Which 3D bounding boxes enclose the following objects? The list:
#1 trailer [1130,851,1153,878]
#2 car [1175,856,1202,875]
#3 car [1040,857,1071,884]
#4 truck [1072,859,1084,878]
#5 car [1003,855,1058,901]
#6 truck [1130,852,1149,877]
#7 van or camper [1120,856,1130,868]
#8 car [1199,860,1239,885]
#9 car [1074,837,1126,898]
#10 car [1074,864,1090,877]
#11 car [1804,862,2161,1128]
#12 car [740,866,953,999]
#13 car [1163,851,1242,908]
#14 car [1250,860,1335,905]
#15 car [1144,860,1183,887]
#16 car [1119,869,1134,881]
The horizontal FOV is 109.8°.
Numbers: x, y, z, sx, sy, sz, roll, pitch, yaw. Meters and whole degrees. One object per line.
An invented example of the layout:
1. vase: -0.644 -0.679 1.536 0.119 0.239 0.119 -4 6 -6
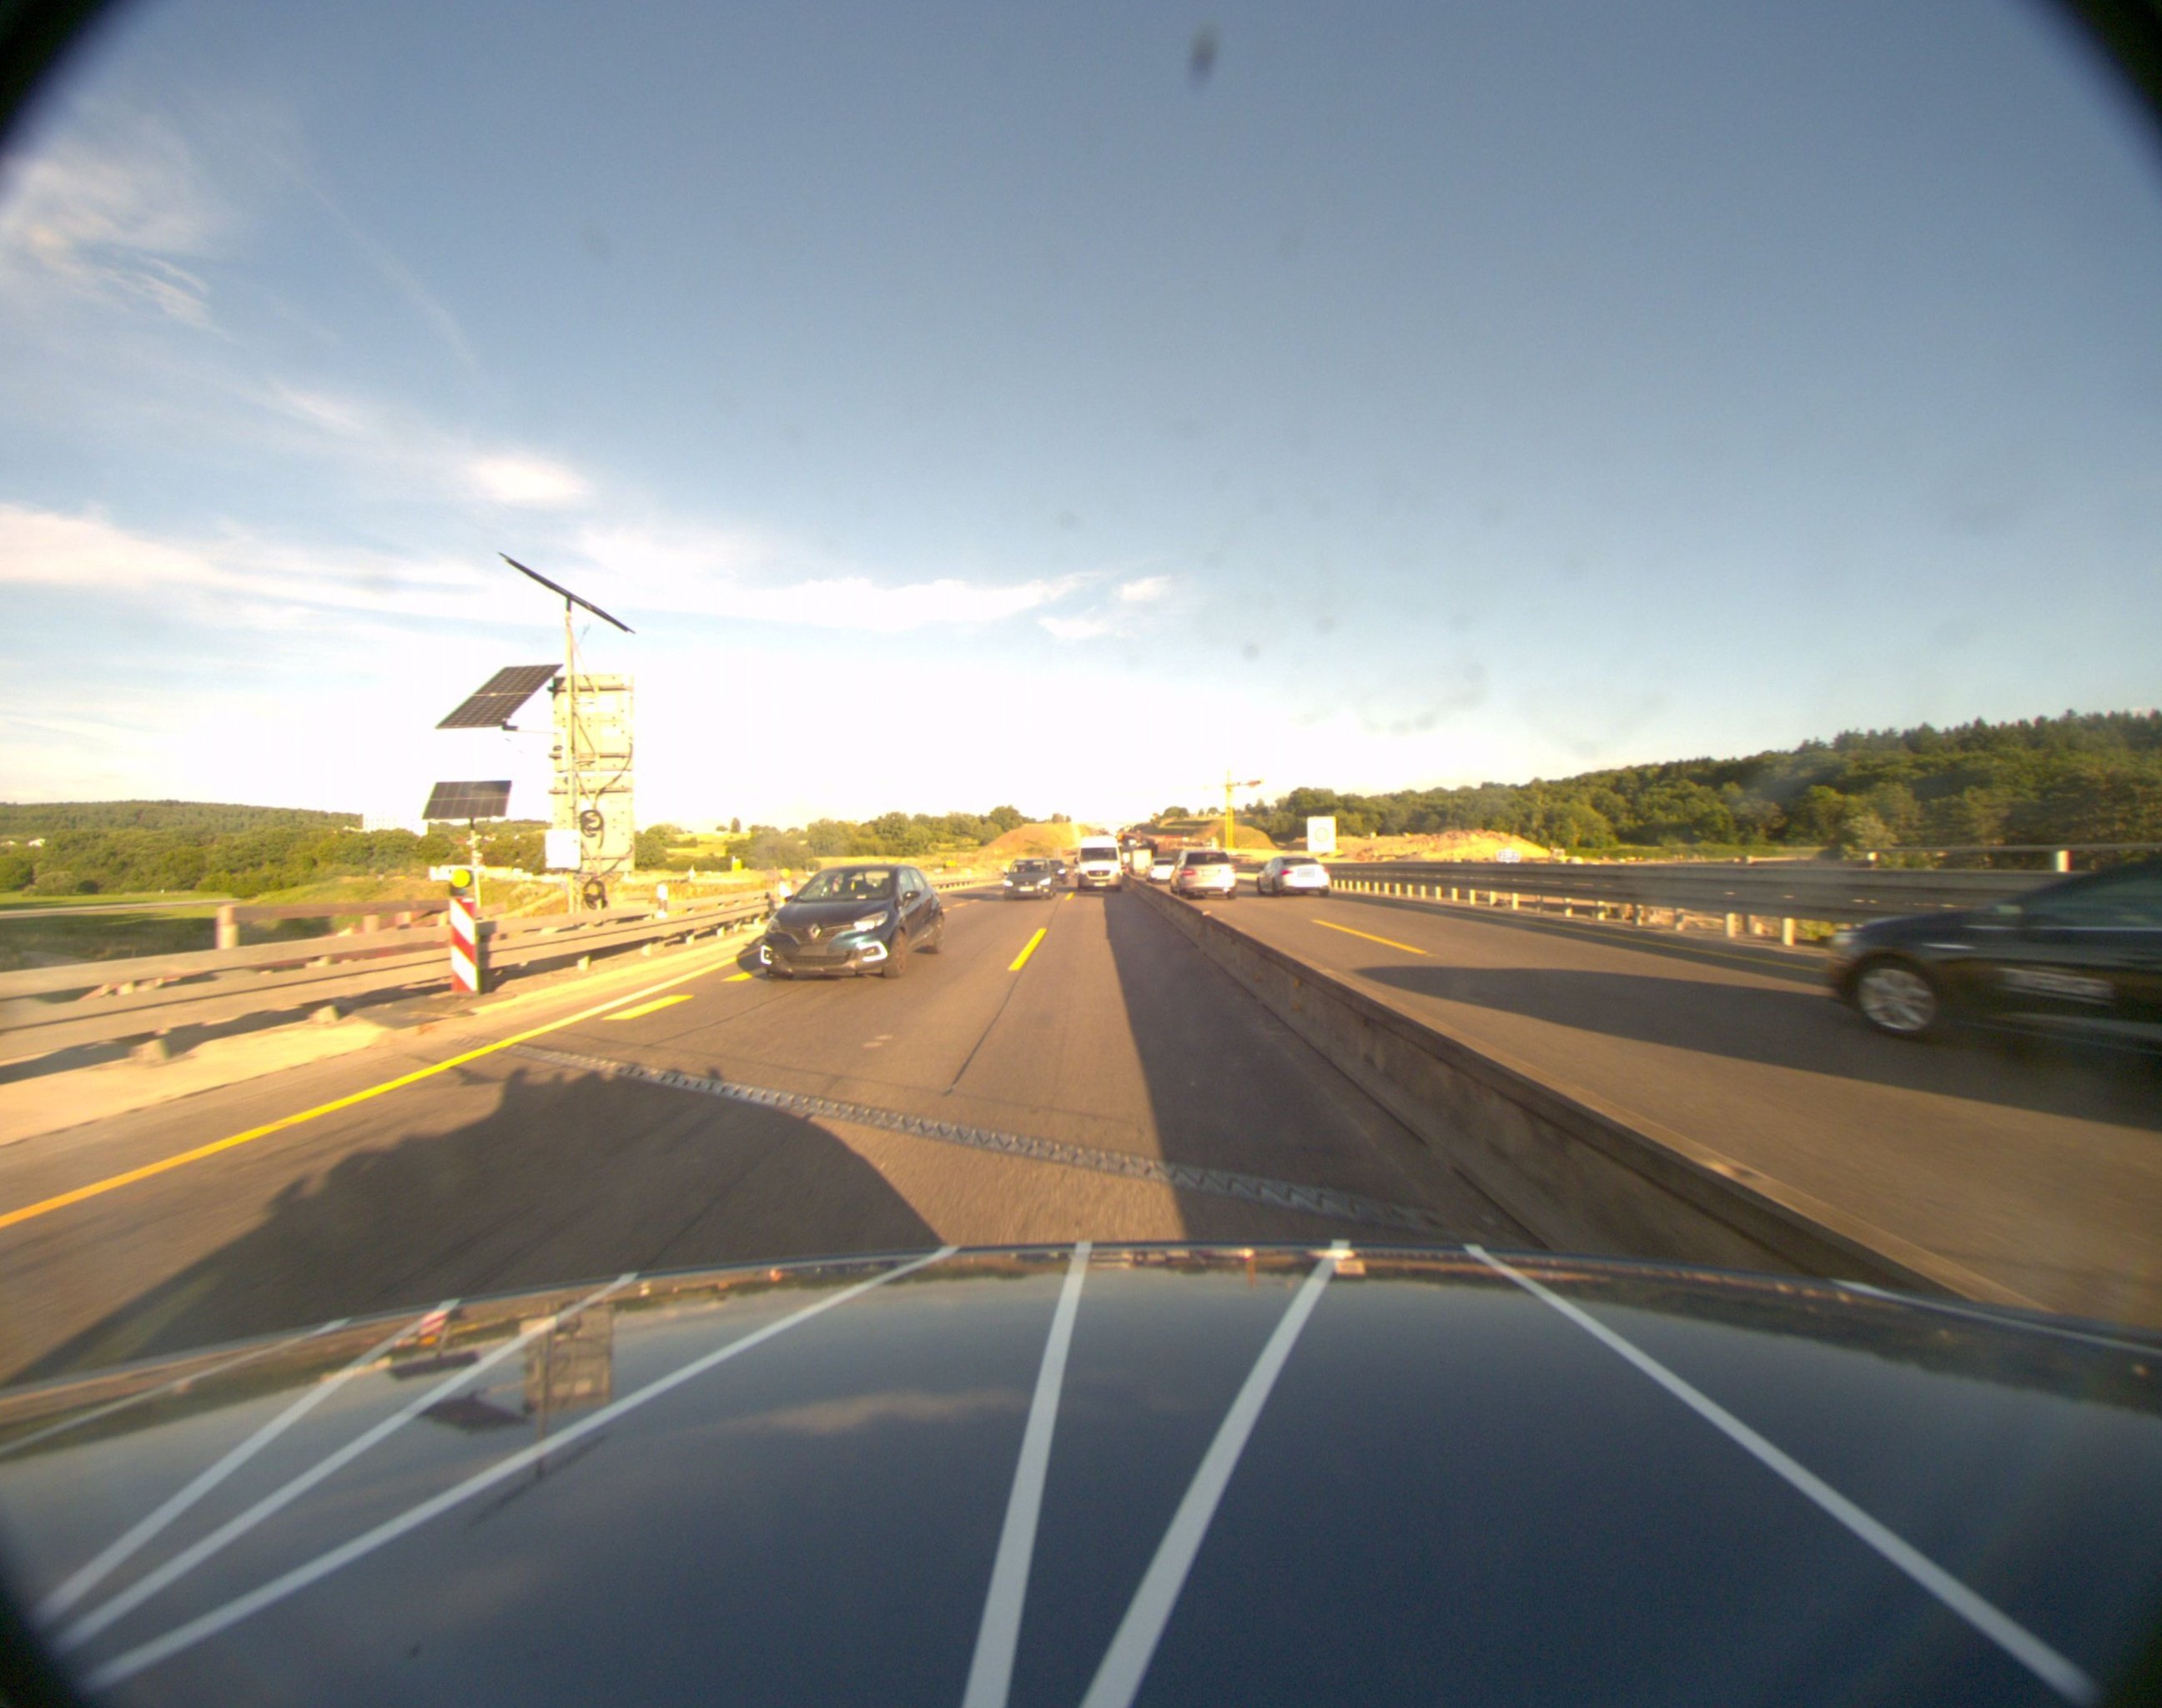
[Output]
1. trailer: 9.529 1.669 120.701 2.821 4.026 14.024 -1 -1 2
2. car: 9.305 0.974 65.987 1.784 1.561 4.001 -1 -1 1
3. car: -1.717 1.117 51.759 1.902 1.703 4.888 -2 -1 0
4. truck: -0.668 3.001 158.417 2.264 3.704 6.572 -4 0 -1
5. car: -1.924 0.915 30.288 1.817 1.605 4.526 -3 0 0
6. truck: 9.752 1.764 127.292 2.821 4.024 5.673 -1 -1 2
7. van or camper: 13.006 2.468 226.497 2.464 3.477 7.415 -2 -1 1
8. car: 8.309 1.101 46.009 1.681 1.414 4.580 -2 -1 1
9. car: 0.889 0.606 34.447 2.109 2.517 5.221 -2 -1 2
10. car: 0.119 1.989 92.687 1.791 1.477 4.001 -3 -2 0
11. car: 6.869 0.792 4.144 1.780 1.396 4.309 -2 0 1
12. car: -3.231 0.997 11.396 1.778 1.576 4.136 -2 -1 1
13. car: 4.148 0.820 26.676 1.998 1.748 4.660 -2 0 0
14. car: 7.363 0.930 26.894 1.778 1.374 4.532 -1 0 1
15. car: 4.760 1.110 44.288 1.809 1.502 4.000 -2 -1 0
16. car: 6.710 3.141 112.100 1.998 1.635 4.512 -2 -1 1
